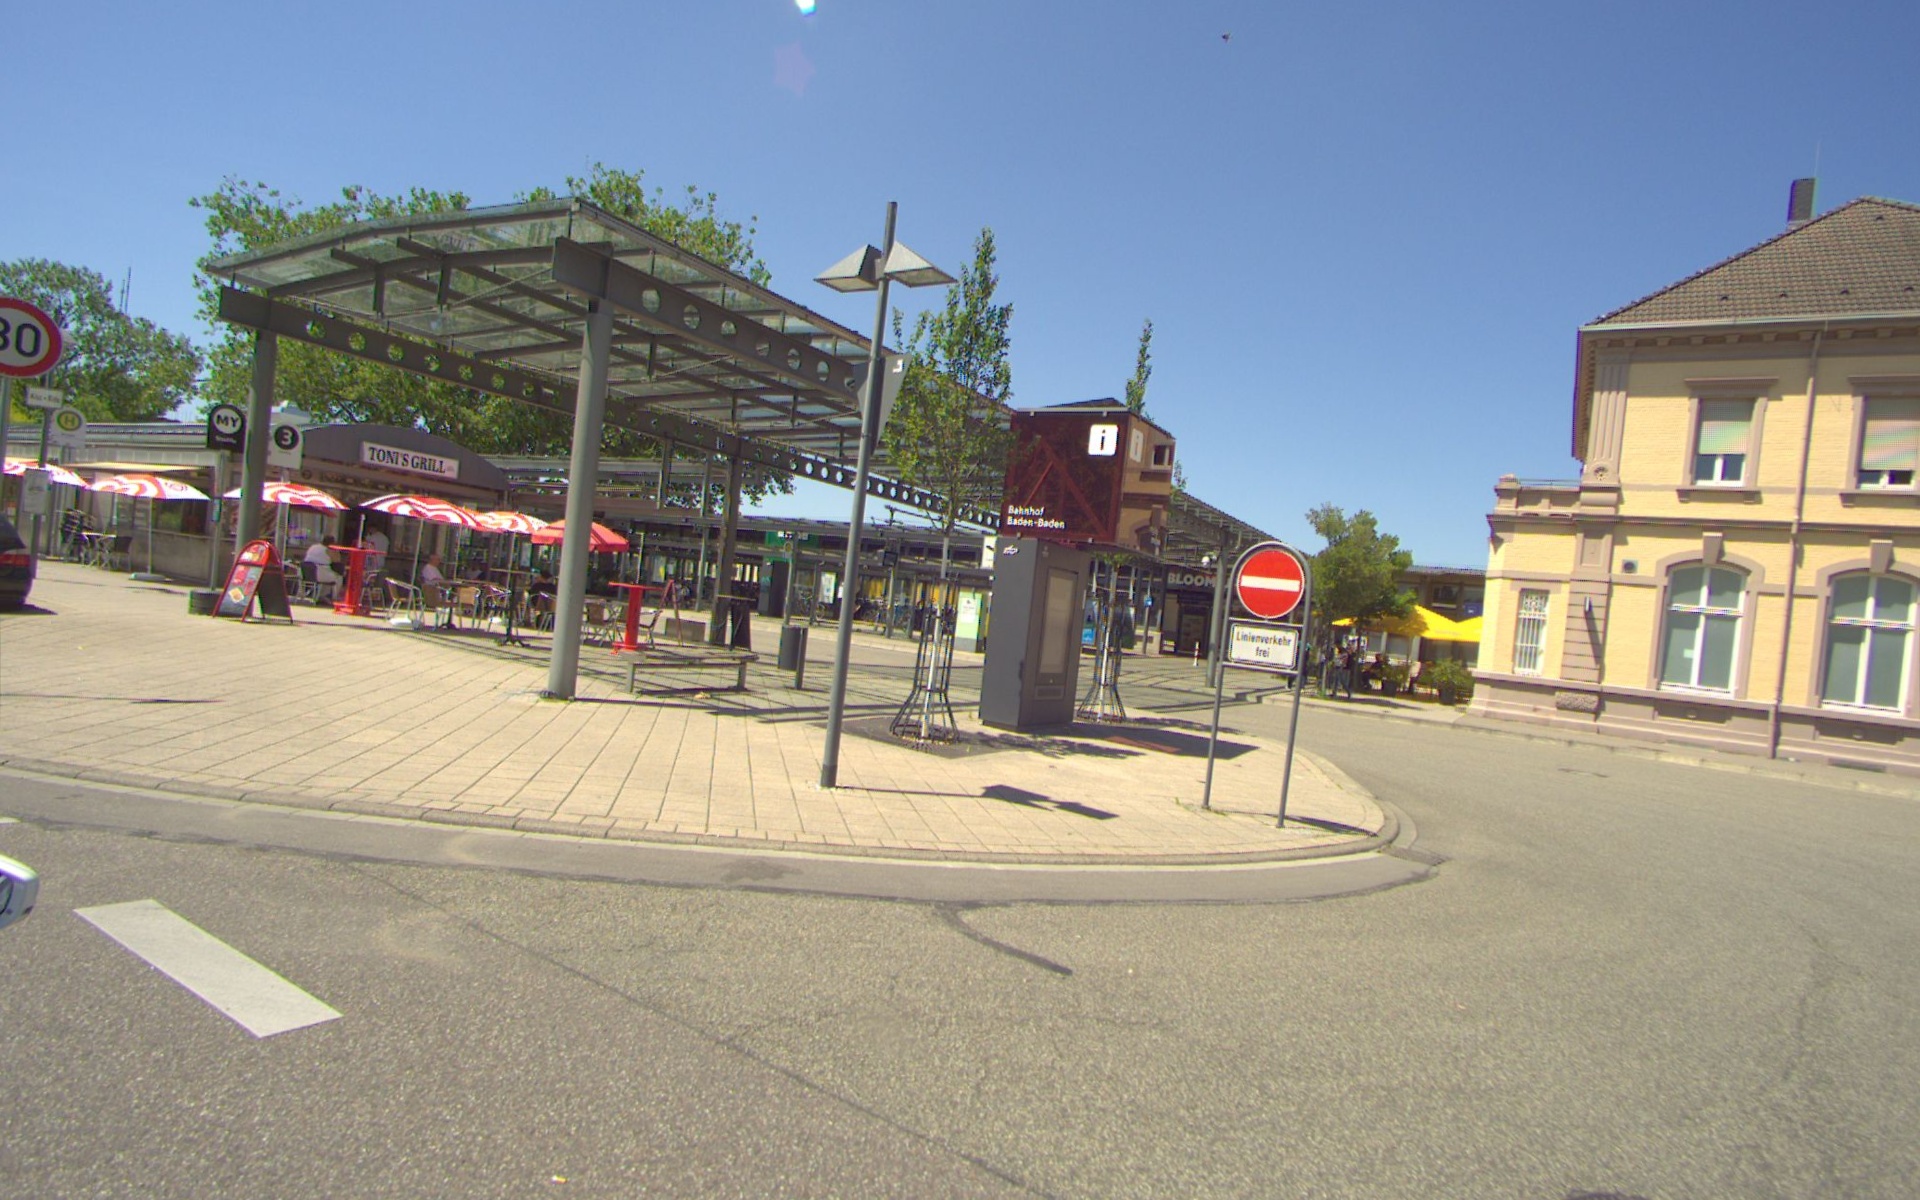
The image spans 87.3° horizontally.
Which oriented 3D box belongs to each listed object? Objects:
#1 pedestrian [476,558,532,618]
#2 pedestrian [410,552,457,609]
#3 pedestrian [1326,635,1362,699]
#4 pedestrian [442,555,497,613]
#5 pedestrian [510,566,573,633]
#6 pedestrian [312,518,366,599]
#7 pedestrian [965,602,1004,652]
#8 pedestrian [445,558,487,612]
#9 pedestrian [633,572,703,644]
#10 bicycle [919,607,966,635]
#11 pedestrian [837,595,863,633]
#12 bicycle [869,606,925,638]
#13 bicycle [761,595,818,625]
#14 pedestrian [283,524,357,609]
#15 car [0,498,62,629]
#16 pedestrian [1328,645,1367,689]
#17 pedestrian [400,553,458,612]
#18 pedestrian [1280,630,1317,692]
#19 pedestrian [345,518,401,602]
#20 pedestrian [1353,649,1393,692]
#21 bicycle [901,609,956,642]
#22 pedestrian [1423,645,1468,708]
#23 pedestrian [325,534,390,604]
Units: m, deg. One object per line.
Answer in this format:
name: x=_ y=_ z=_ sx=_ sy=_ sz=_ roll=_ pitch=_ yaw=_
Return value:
pedestrian: x=-10.335 y=-0.269 z=22.797 sx=0.725 sy=1.219 sz=0.760 roll=6 pitch=-2 yaw=32
pedestrian: x=-12.358 y=-0.456 z=23.619 sx=0.582 sy=1.219 sz=0.656 roll=6 pitch=-2 yaw=31
pedestrian: x=11.445 y=1.995 z=29.983 sx=0.626 sy=1.832 sz=0.590 roll=6 pitch=1 yaw=-37
pedestrian: x=-11.418 y=-0.361 z=23.413 sx=0.725 sy=1.219 sz=0.760 roll=6 pitch=-2 yaw=32
pedestrian: x=-8.166 y=-0.013 z=19.638 sx=0.881 sy=1.175 sz=0.686 roll=6 pitch=0 yaw=36
pedestrian: x=-14.335 y=-0.964 z=23.228 sx=0.695 sy=1.759 sz=0.687 roll=6 pitch=0 yaw=32
pedestrian: x=0.838 y=0.925 z=34.356 sx=0.909 sy=1.610 sz=0.855 roll=6 pitch=1 yaw=26
pedestrian: x=-11.931 y=-0.367 z=24.313 sx=0.653 sy=1.219 sz=0.585 roll=8 pitch=-2 yaw=-43
pedestrian: x=-5.748 y=0.165 z=19.832 sx=0.881 sy=1.293 sz=0.845 roll=6 pitch=0 yaw=36
bicycle: x=-0.820 y=1.040 z=49.391 sx=0.950 sy=1.015 sz=2.794 roll=6 pitch=-3 yaw=29
pedestrian: x=-4.247 y=0.548 z=38.872 sx=0.665 sy=1.413 sz=0.625 roll=6 pitch=2 yaw=31
bicycle: x=-2.536 y=0.905 z=41.035 sx=0.797 sy=1.015 sz=2.794 roll=6 pitch=-3 yaw=29
bicycle: x=-7.447 y=0.457 z=44.098 sx=0.797 sy=1.015 sz=2.794 roll=6 pitch=-3 yaw=29
pedestrian: x=-11.652 y=-0.592 z=18.341 sx=0.676 sy=1.435 sz=0.894 roll=6 pitch=0 yaw=-6
car: x=-13.096 y=-0.621 z=12.258 sx=4.646 sy=1.480 sz=1.927 roll=6 pitch=2 yaw=31
pedestrian: x=13.185 y=2.265 z=34.281 sx=0.958 sy=1.371 sz=1.052 roll=4 pitch=2 yaw=11
pedestrian: x=-11.392 y=-0.370 z=21.608 sx=0.676 sy=1.175 sz=0.894 roll=6 pitch=0 yaw=-3
pedestrian: x=10.481 y=1.888 z=31.111 sx=0.684 sy=1.832 sz=0.625 roll=6 pitch=1 yaw=-37
pedestrian: x=-13.114 y=-0.892 z=22.469 sx=0.695 sy=1.759 sz=0.687 roll=7 pitch=1 yaw=32
pedestrian: x=14.407 y=2.437 z=35.062 sx=1.035 sy=1.371 sz=0.973 roll=5 pitch=2 yaw=34
bicycle: x=-1.260 y=1.040 z=40.593 sx=0.797 sy=1.015 sz=2.794 roll=6 pitch=-3 yaw=29
pedestrian: x=15.545 y=2.440 z=32.203 sx=1.064 sy=1.870 sz=1.081 roll=6 pitch=0 yaw=29
pedestrian: x=-12.219 y=-0.613 z=20.412 sx=0.676 sy=1.329 sz=0.894 roll=6 pitch=0 yaw=-3
